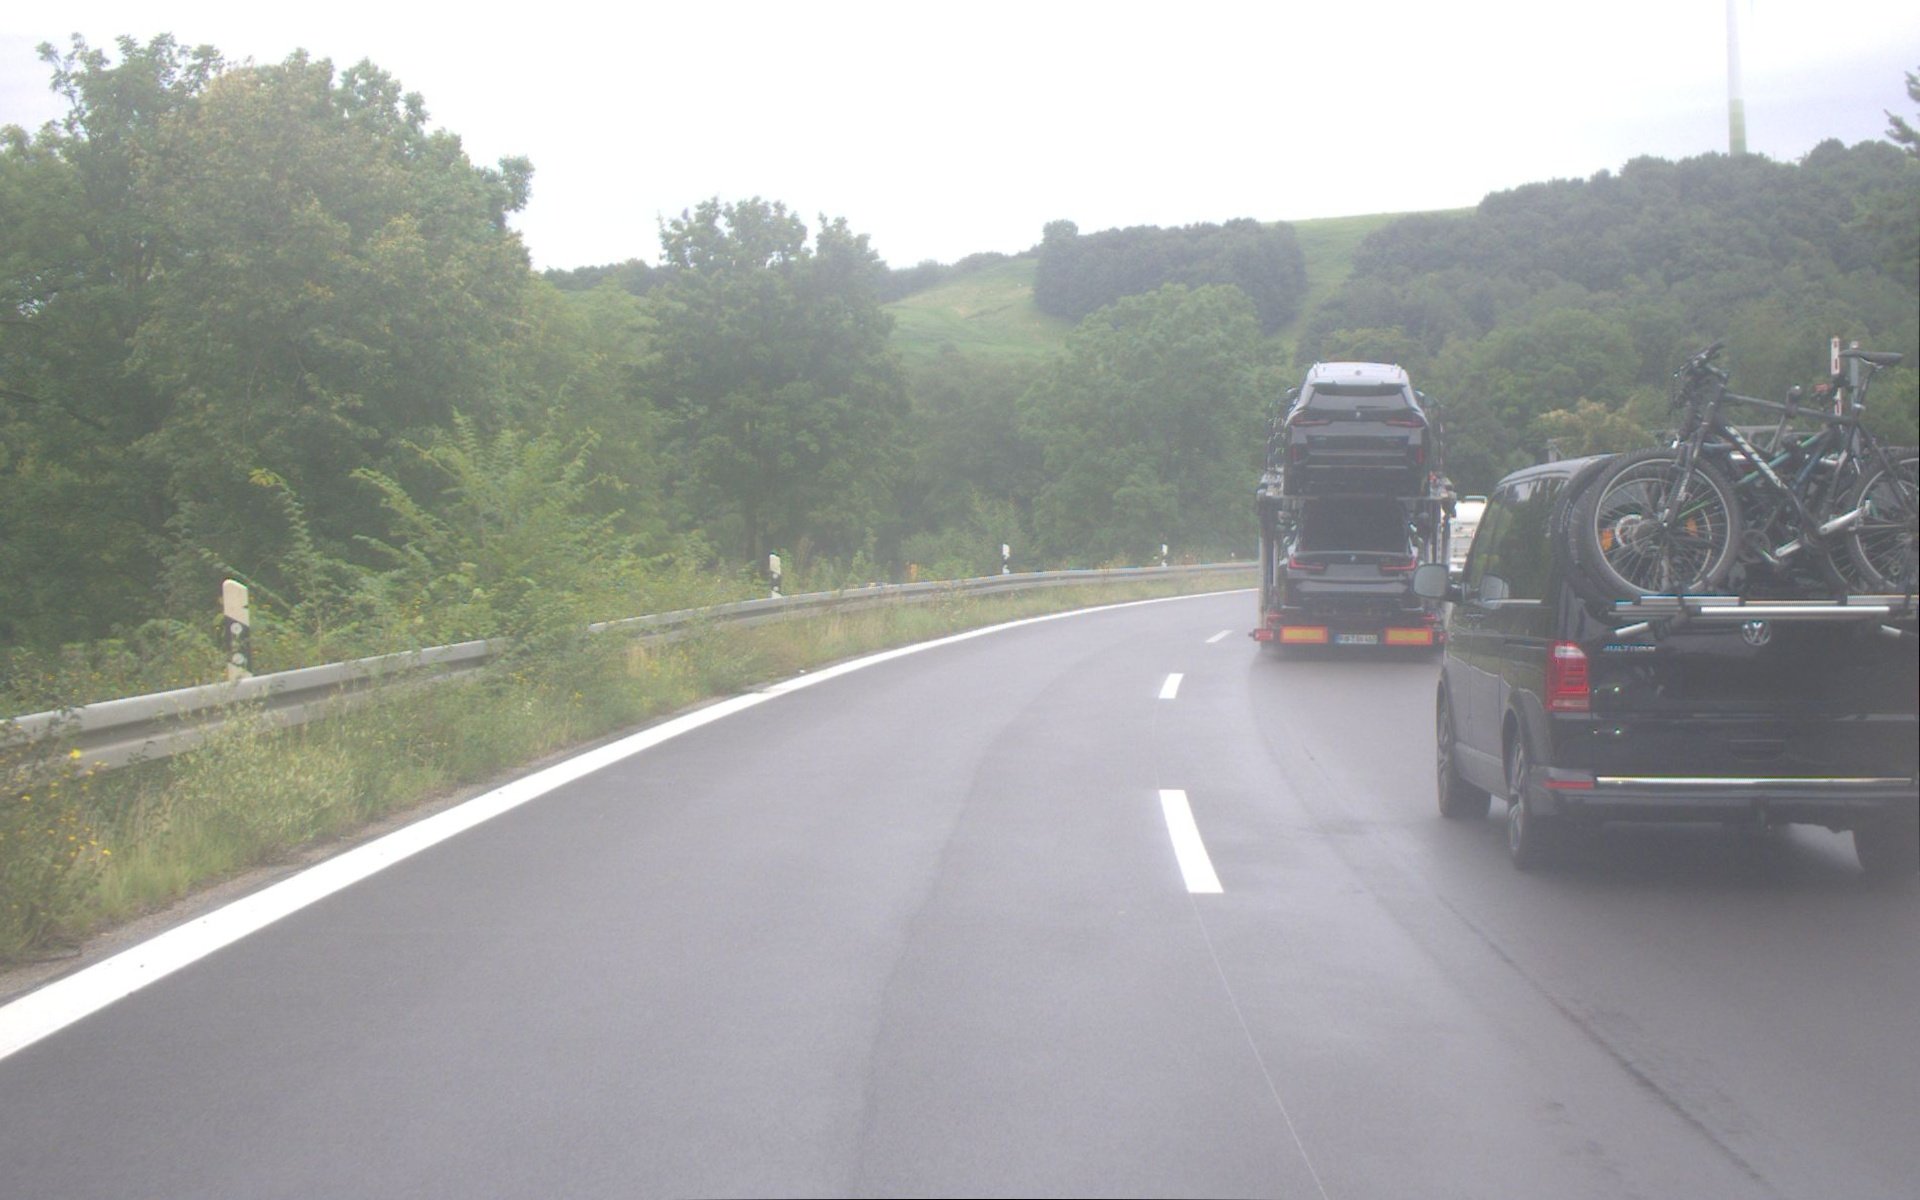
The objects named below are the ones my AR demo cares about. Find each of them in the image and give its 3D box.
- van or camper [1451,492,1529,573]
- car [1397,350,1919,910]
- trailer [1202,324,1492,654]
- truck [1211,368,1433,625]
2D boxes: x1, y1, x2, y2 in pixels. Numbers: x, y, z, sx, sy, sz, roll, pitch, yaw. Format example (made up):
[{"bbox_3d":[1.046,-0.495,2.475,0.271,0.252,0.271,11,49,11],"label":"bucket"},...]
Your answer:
[{"bbox_3d":[14.929,-1.905,96.818,2.093,2.224,4.429,1,1,9],"label":"van or camper"},{"bbox_3d":[3.452,0.048,17.045,2.110,2.257,5.896,1,2,3],"label":"car"},{"bbox_3d":[5.201,-1.495,48.112,3.449,3.986,12.025,1,1,4],"label":"trailer"},{"bbox_3d":[6.119,-1.753,59.506,3.395,3.986,10.845,1,1,4],"label":"truck"}]
